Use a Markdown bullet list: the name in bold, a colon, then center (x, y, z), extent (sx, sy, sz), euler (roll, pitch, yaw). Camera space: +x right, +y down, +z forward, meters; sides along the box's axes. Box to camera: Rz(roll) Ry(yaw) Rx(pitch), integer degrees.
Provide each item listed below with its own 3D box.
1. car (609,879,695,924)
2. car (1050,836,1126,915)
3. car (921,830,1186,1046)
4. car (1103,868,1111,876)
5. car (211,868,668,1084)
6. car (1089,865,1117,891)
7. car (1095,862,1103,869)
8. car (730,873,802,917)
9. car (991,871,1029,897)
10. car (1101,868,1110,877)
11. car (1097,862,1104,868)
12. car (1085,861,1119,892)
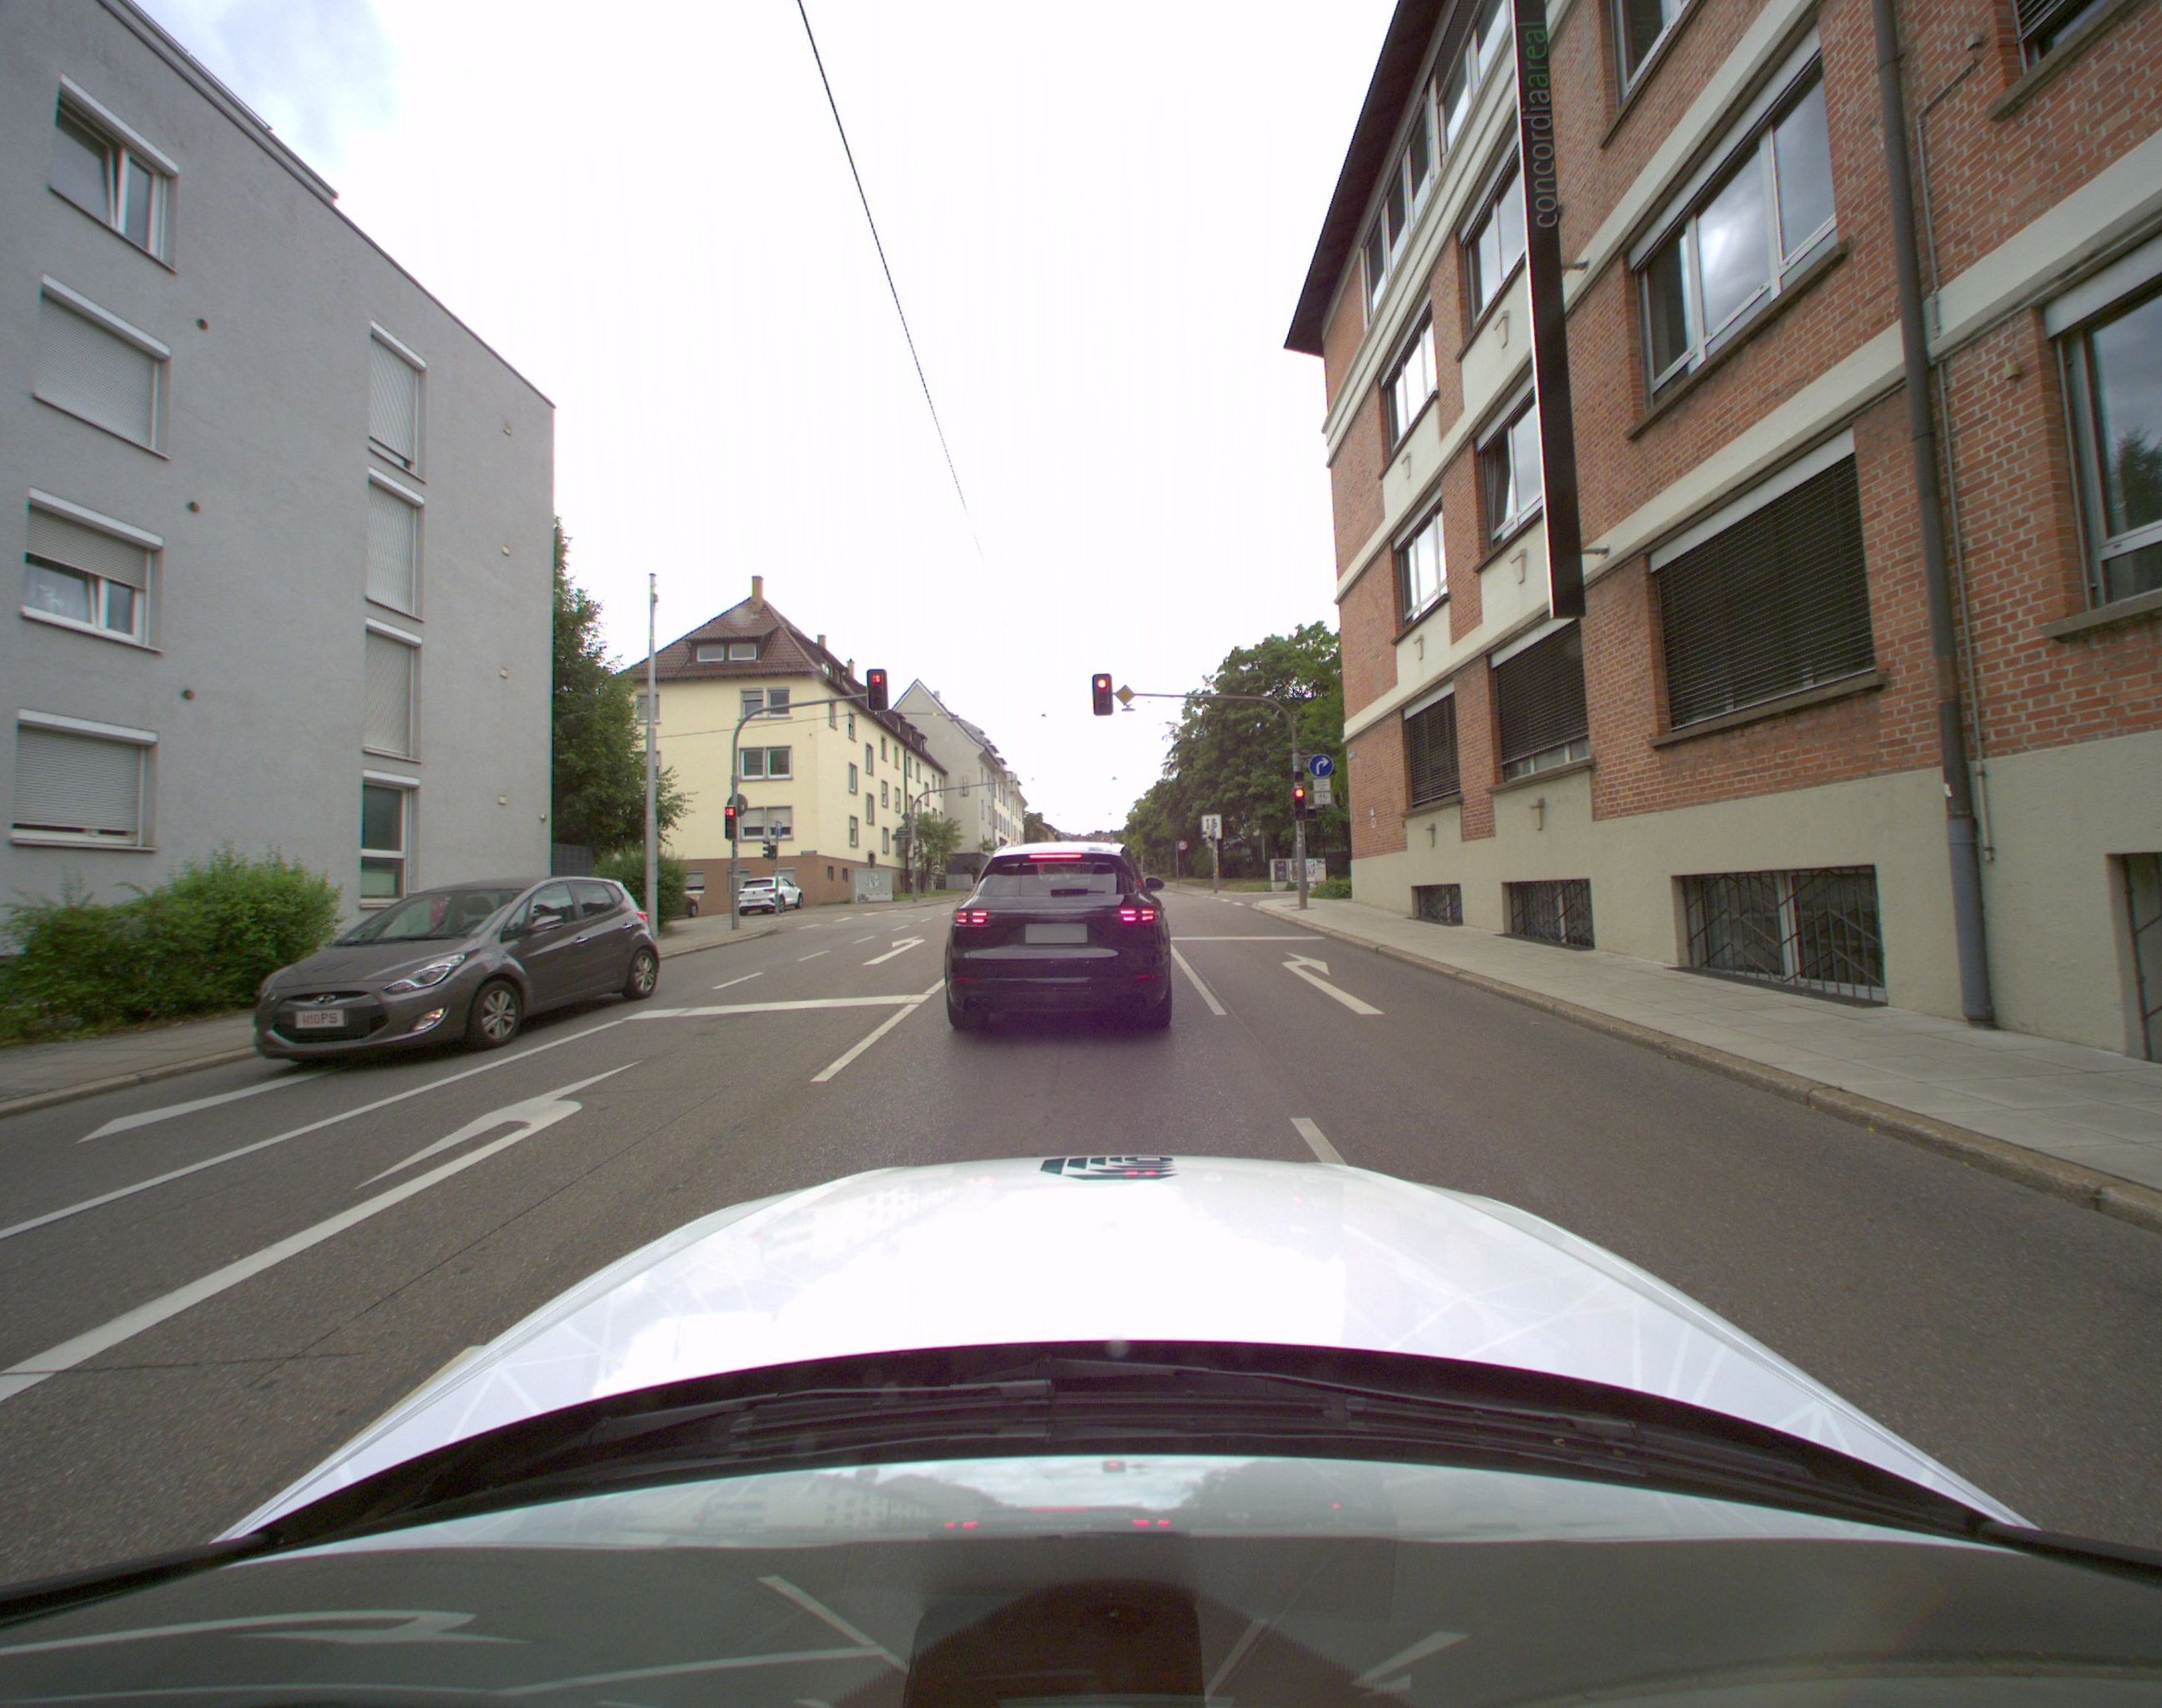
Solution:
- **car**: center (-18.470, 1.986, 35.256), extent (1.686, 1.608, 3.763), euler (-4, 0, -2)
- **car**: center (0.248, 0.555, 23.210), extent (1.957, 2.042, 4.137), euler (0, 0, 2)
- **car**: center (-0.137, 0.652, 8.445), extent (2.040, 1.666, 4.269), euler (0, 0, 2)
- **car**: center (5.797, 4.090, 183.727), extent (1.820, 1.605, 4.137), euler (0, 0, 2)
- **car**: center (-6.272, 1.033, 8.676), extent (1.699, 1.587, 3.934), euler (-4, 0, -1)
- **car**: center (1.470, 1.554, 53.828), extent (1.820, 1.605, 3.860), euler (0, 0, 2)
- **car**: center (4.573, 2.955, 204.249), extent (1.820, 1.605, 4.137), euler (0, 0, 2)
- **car**: center (-13.554, 1.727, 35.277), extent (1.686, 1.555, 3.763), euler (-4, 0, -2)
- **car**: center (-4.467, 1.857, 52.033), extent (1.778, 1.418, 4.672), euler (-4, -1, 2)
- **car**: center (4.858, 3.624, 161.552), extent (1.820, 1.605, 4.137), euler (0, 0, 2)
- **car**: center (4.987, 2.917, 211.571), extent (1.820, 1.605, 4.137), euler (0, 0, 2)
- **car**: center (1.188, 1.189, 45.118), extent (1.820, 1.605, 4.137), euler (0, 0, 2)
